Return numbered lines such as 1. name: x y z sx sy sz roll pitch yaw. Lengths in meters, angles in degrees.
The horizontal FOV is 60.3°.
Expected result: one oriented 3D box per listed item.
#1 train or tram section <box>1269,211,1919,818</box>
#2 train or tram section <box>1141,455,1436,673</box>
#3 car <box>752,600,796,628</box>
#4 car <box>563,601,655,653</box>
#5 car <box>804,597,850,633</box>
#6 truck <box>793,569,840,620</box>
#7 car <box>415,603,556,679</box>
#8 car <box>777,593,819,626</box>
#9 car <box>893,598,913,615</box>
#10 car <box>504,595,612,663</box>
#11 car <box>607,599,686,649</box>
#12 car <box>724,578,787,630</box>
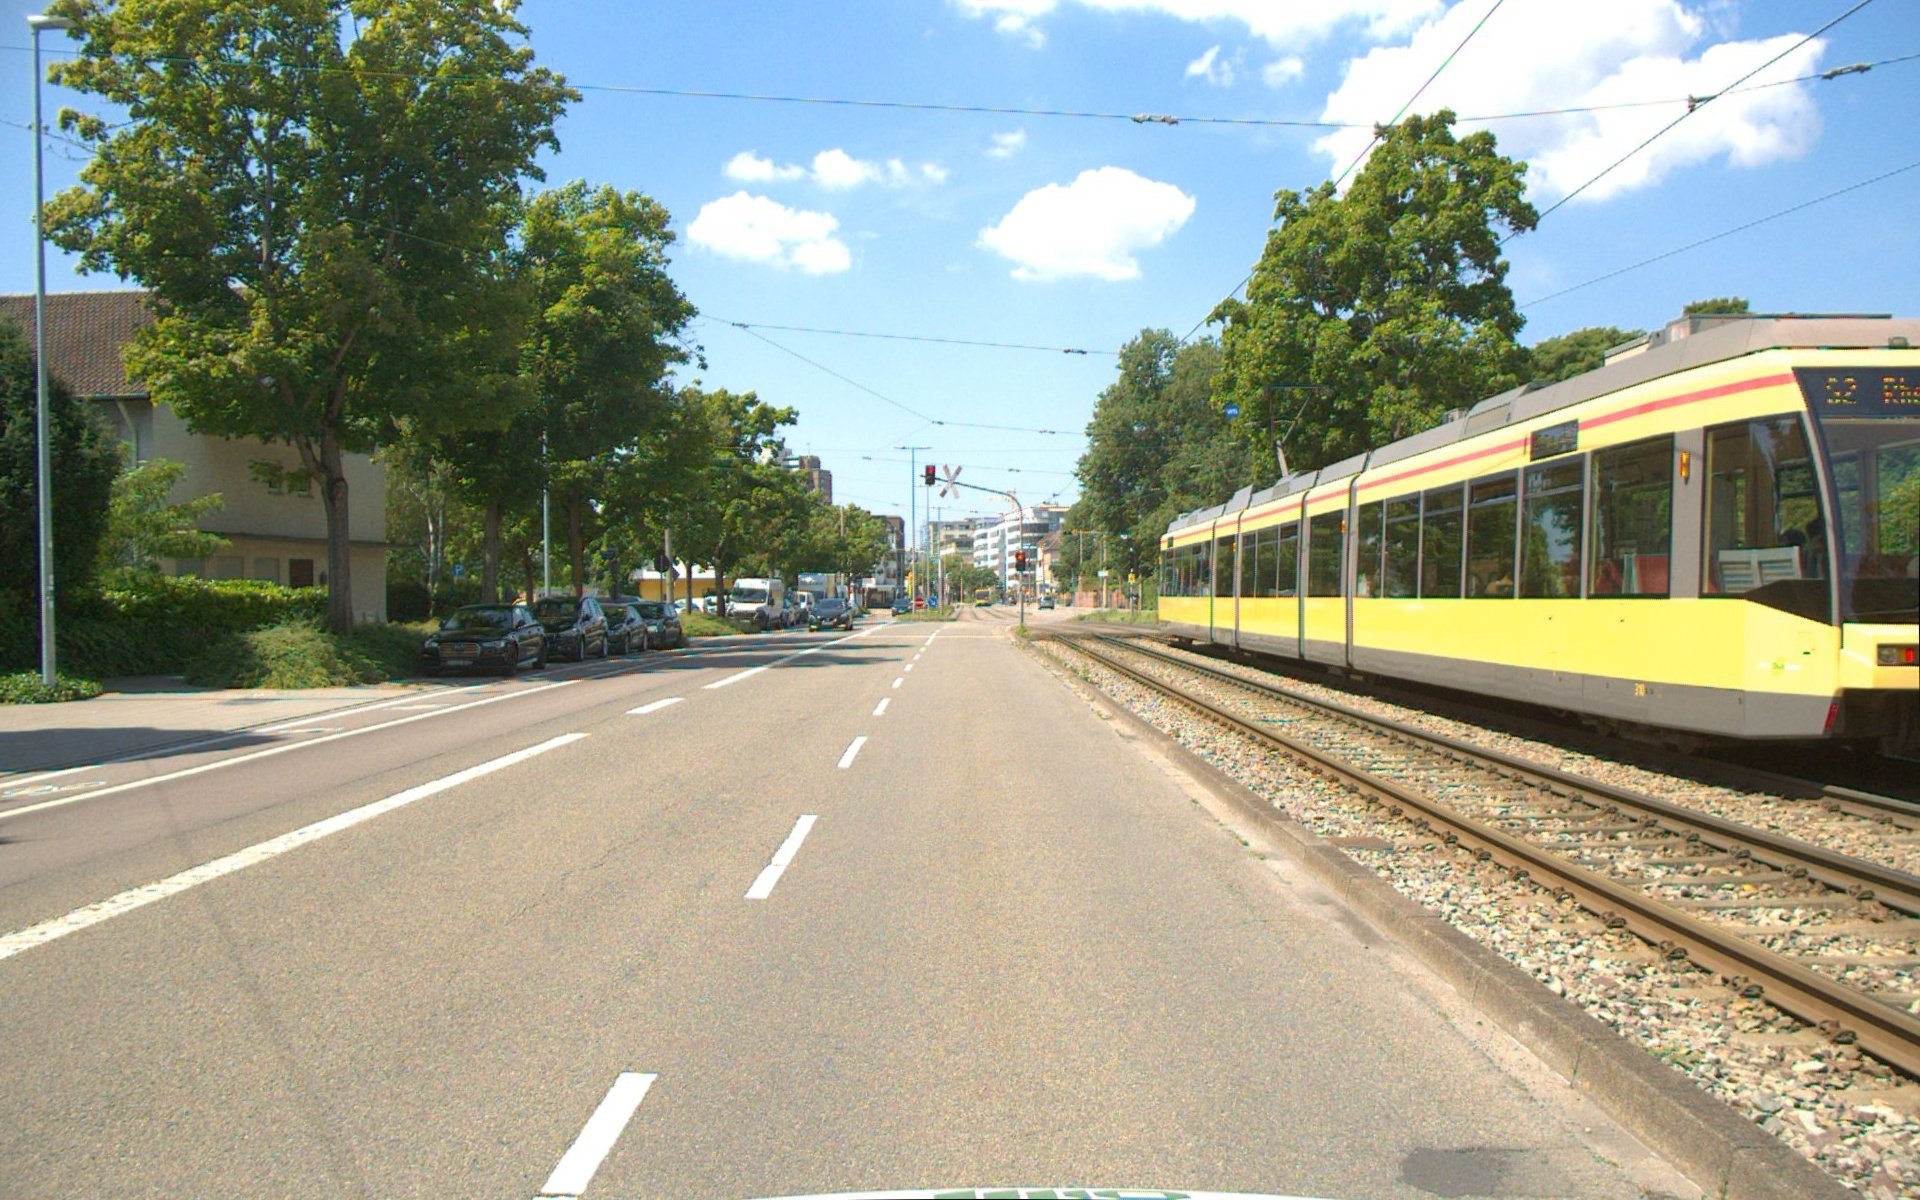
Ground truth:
1. train or tram section: 6.842 -0.569 19.447 2.883 3.756 18.387 0 0 0
2. train or tram section: 6.795 -0.668 38.734 2.883 3.756 20.283 0 0 0
3. car: -10.086 0.745 89.916 1.830 1.462 4.343 -1 0 1
4. car: -10.225 0.754 48.493 1.739 1.397 4.696 1 0 -1
5. car: -5.846 0.659 73.312 1.739 1.485 4.194 -2 0 -1
6. truck: -9.575 -0.365 111.282 2.112 3.266 7.084 2 0 3
7. car: -10.101 0.820 35.580 1.739 1.481 4.803 0 0 -1
8. car: -10.030 0.577 102.708 2.018 1.931 4.871 -1 0 1
9. car: -4.933 0.569 143.861 1.644 1.422 4.004 -3 0 -1
10. car: -10.295 0.702 42.659 1.739 1.632 4.636 0 0 -1
11. car: -10.049 0.747 53.239 1.738 1.506 4.047 1 0 0
12. car: -10.234 0.195 83.171 2.112 2.530 6.195 0 0 3
